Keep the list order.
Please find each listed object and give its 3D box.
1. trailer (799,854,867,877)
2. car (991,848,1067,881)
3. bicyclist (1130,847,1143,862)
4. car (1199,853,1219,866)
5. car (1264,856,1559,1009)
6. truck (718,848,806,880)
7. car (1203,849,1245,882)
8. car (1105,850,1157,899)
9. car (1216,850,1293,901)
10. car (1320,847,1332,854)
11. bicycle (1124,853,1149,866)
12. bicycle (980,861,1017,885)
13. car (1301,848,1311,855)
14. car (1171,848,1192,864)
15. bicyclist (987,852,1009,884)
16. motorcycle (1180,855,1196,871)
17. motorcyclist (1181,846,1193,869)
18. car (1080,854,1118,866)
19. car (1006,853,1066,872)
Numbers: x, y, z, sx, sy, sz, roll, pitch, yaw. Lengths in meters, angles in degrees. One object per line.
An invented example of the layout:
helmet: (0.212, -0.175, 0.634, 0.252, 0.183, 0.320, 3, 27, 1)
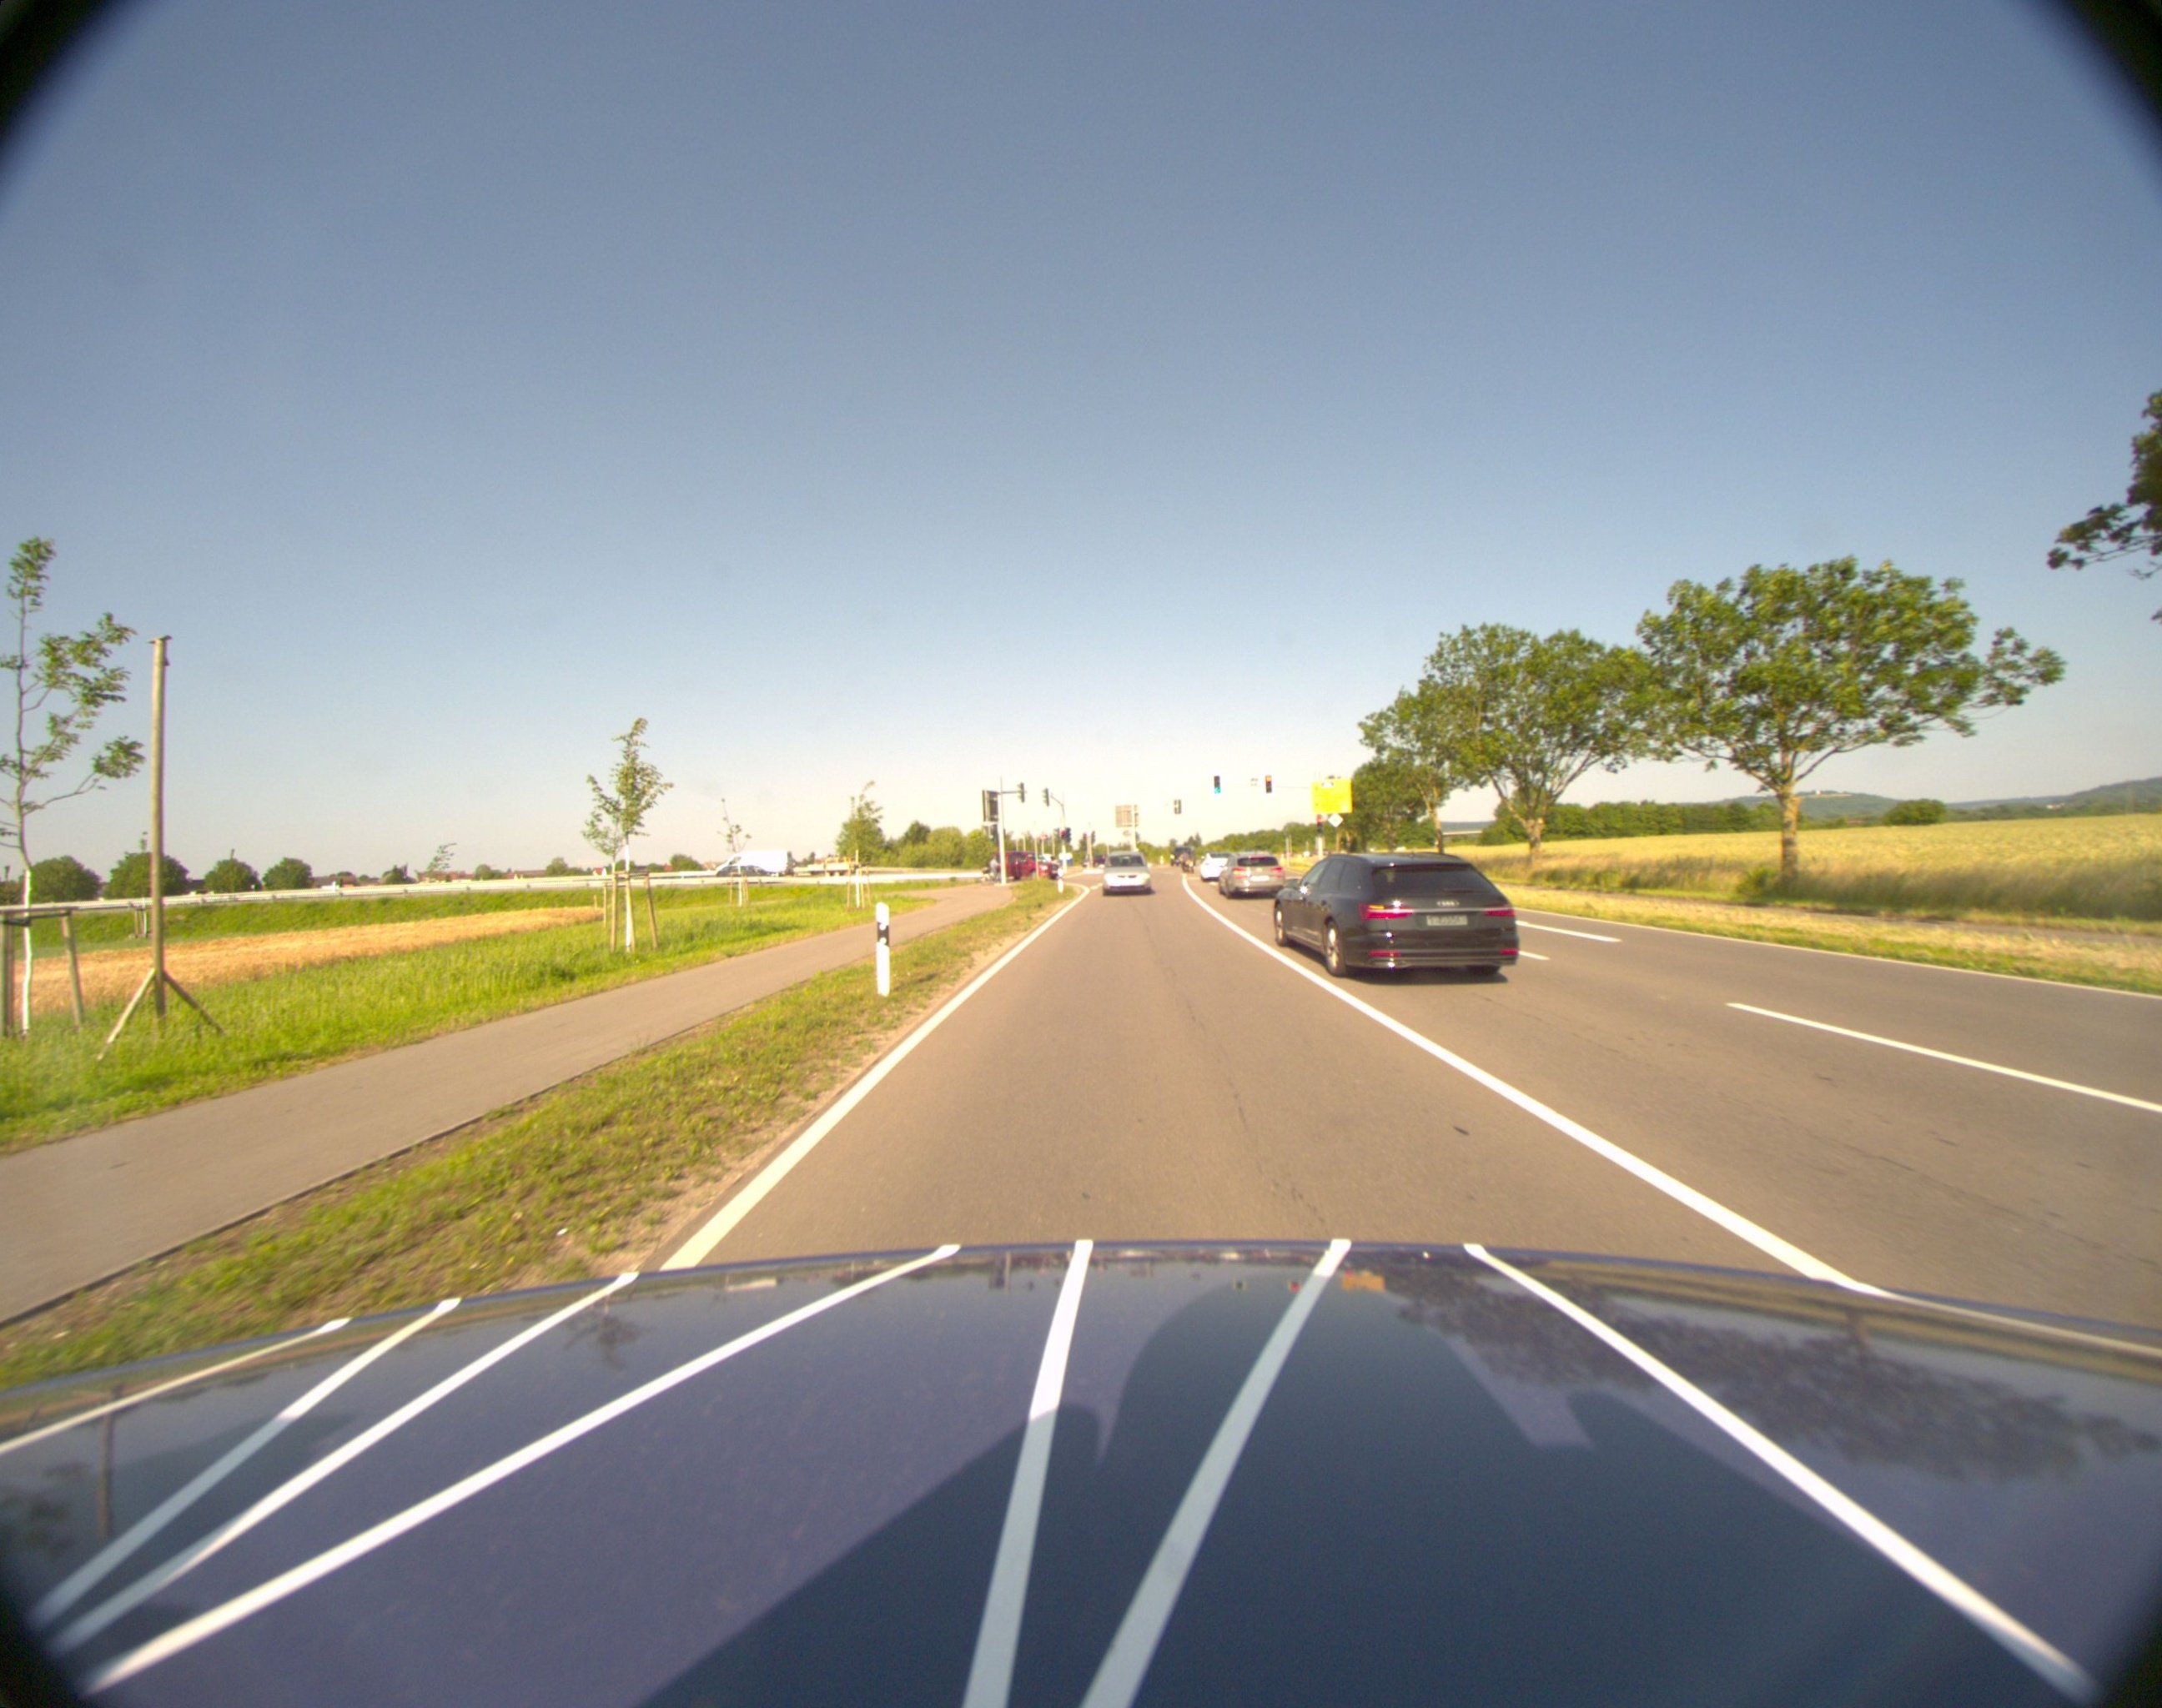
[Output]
trailer: (-20.499, 0.907, 62.967, 5.010, 1.728, 1.980, -2, 1, -5)
car: (-3.257, 0.654, 46.739, 4.686, 1.826, 1.697, -2, 1, 39)
bicyclist: (5.113, 0.078, 69.983, 1.072, 1.344, 0.859, -1, 2, 11)
car: (15.917, 0.701, 94.567, 1.859, 1.533, 4.005, -1, 0, 18)
car: (3.885, 0.793, 10.007, 1.894, 1.428, 4.797, -2, 1, 2)
truck: (-26.092, 0.783, 62.331, 6.197, 2.391, 2.070, -2, 1, -6)
car: (7.155, 0.526, 38.168, 1.893, 1.458, 4.279, -2, 0, 10)
car: (1.897, 0.726, 28.860, 1.754, 1.685, 4.216, -2, 0, 4)
car: (5.530, 0.644, 24.684, 1.894, 1.452, 4.307, -1, 1, 6)
car: (57.865, -0.822, 179.612, 1.885, 1.616, 4.007, 0, 1, 28)
bicycle: (5.103, 0.492, 69.984, 2.147, 1.143, 1.074, -1, 1, 11)
bicycle: (-4.713, 1.084, 43.581, 1.948, 1.145, 0.679, -6, 4, -36)
car: (47.156, -0.560, 159.296, 1.630, 1.369, 4.429, 0, 1, 22)
car: (10.312, 0.218, 77.954, 1.860, 1.533, 4.003, -1, 0, 12)
bicyclist: (-4.747, 0.780, 43.533, 0.919, 1.756, 0.618, -7, 5, -36)
motorcycle: (7.210, 0.616, 51.193, 0.899, 1.037, 2.429, -2, 0, 4)
motorcyclist: (7.160, 0.258, 51.343, 0.680, 1.506, 1.181, -2, 0, 5)
car: (1.846, 0.574, 77.606, 1.735, 1.106, 4.008, 0, 0, 40)
car: (-3.782, 0.680, 63.727, 4.699, 1.483, 1.767, -1, 1, 15)
